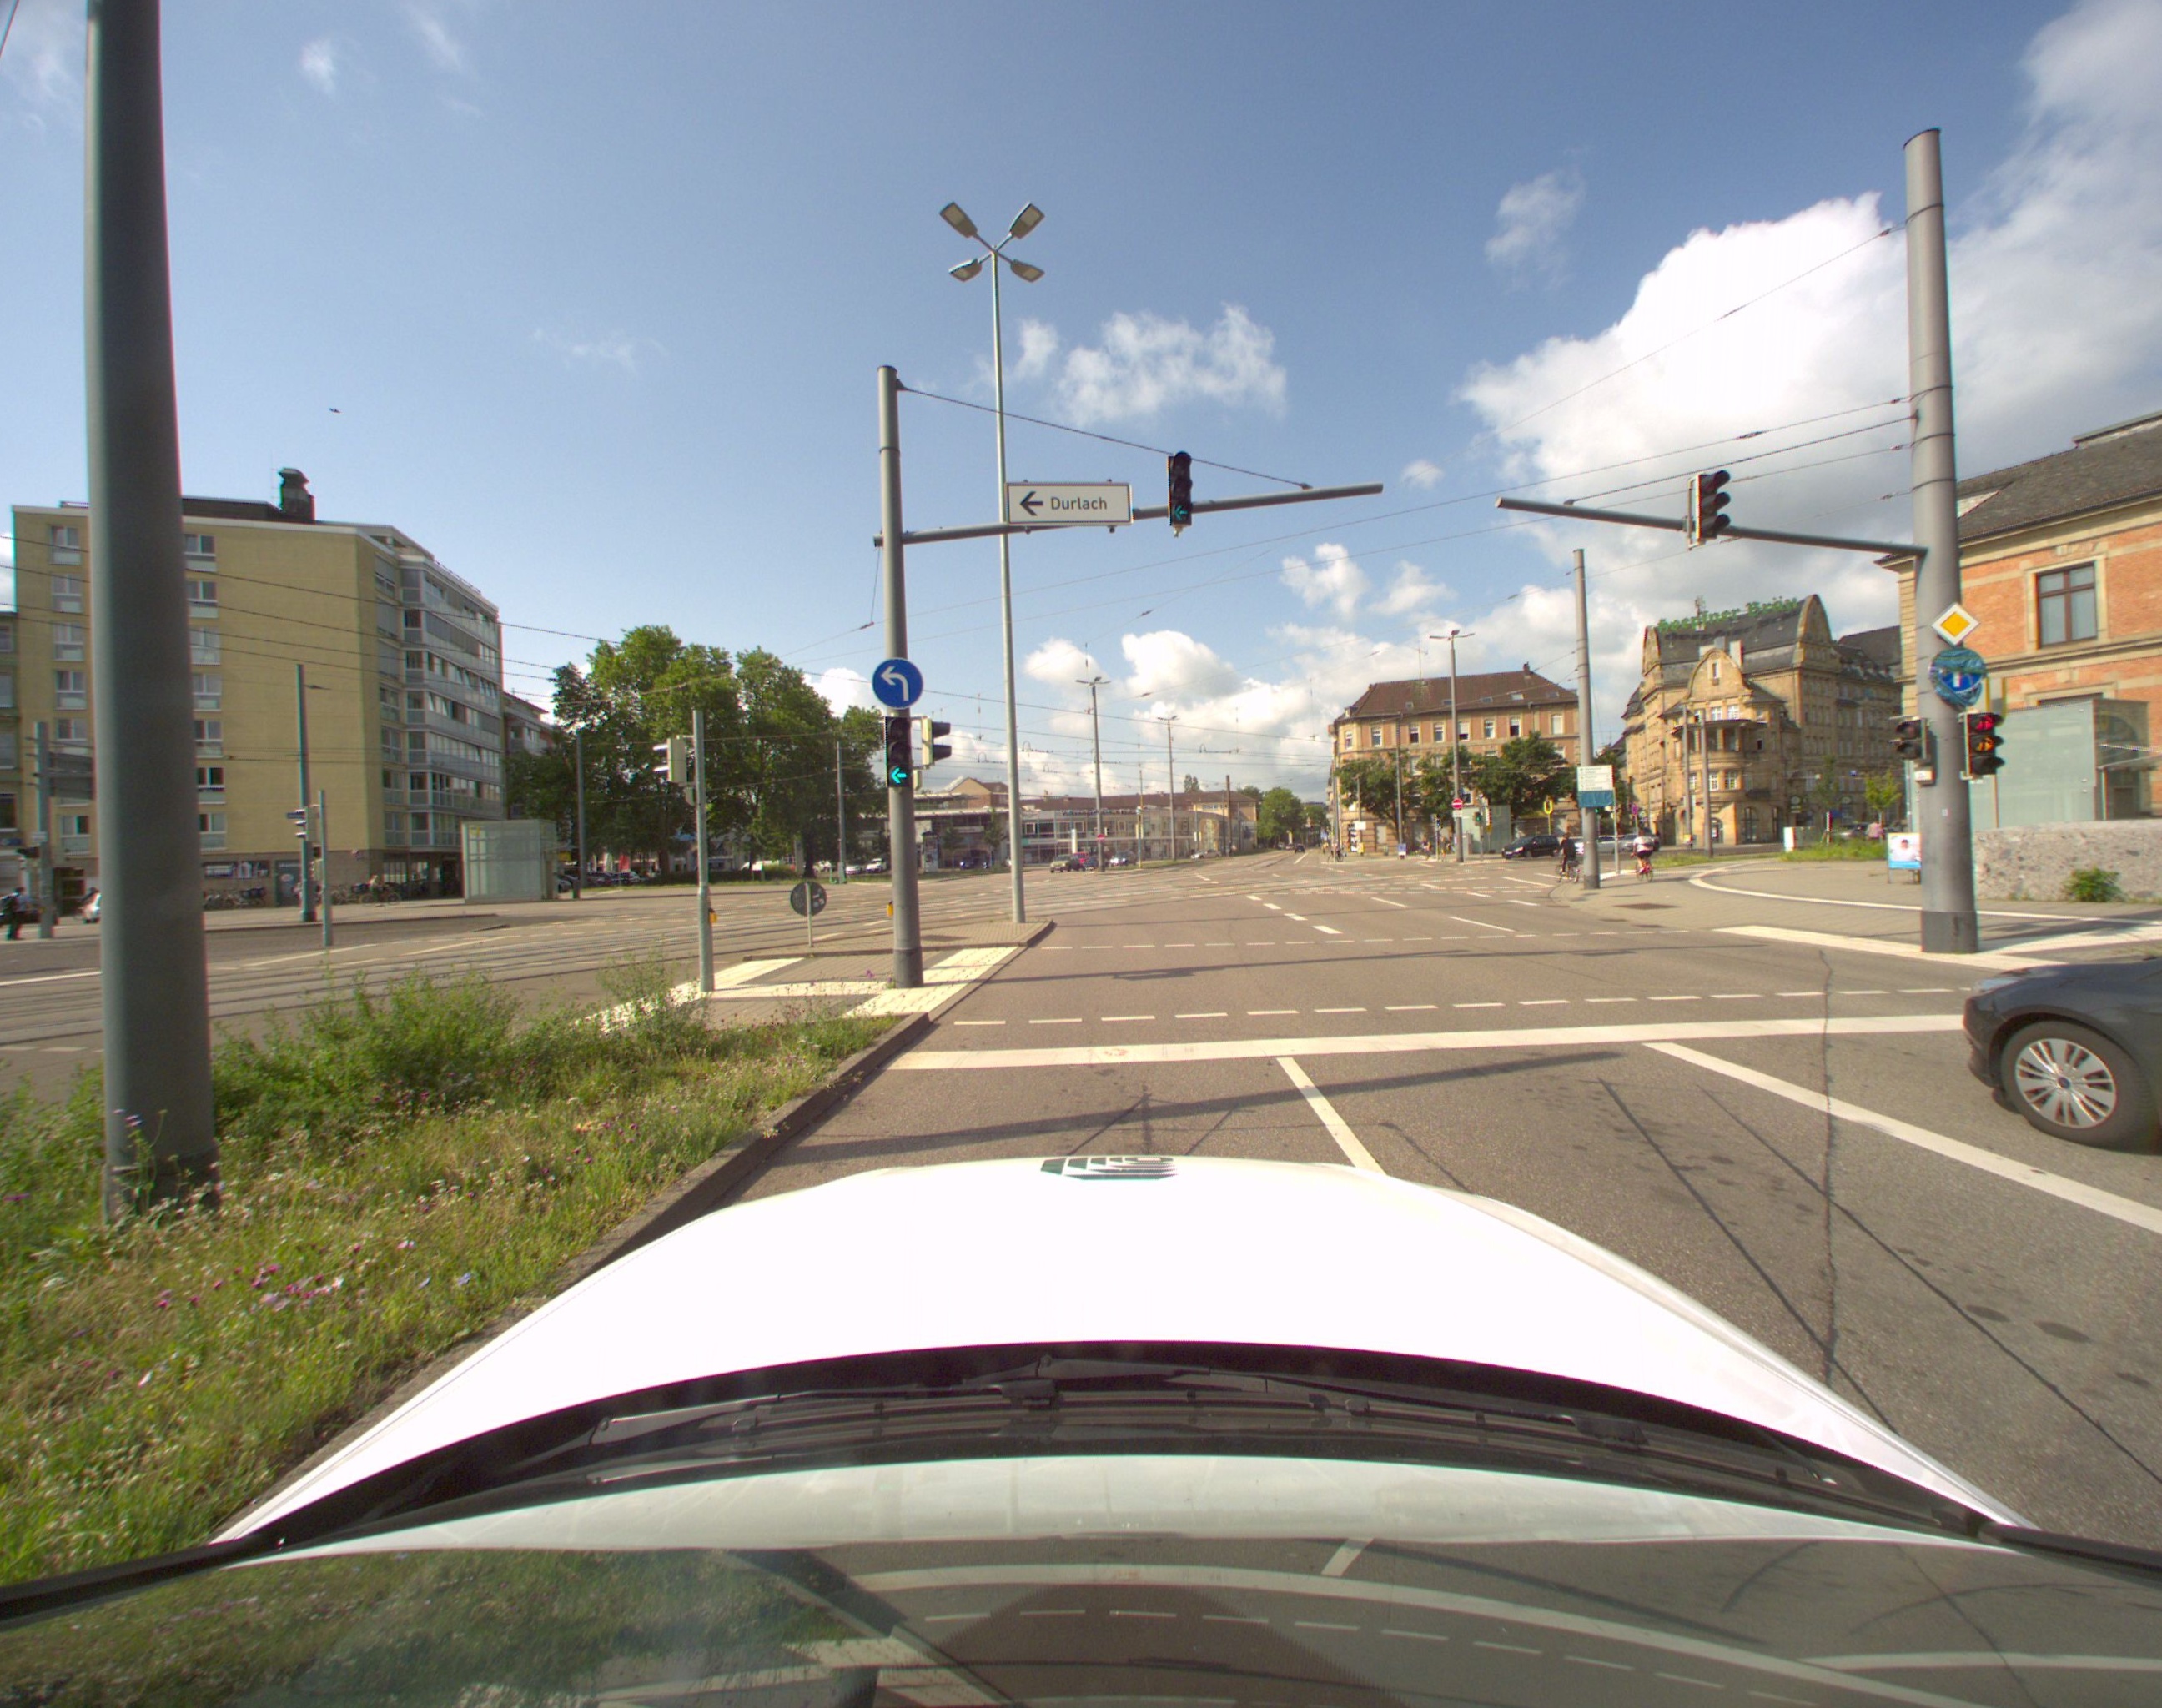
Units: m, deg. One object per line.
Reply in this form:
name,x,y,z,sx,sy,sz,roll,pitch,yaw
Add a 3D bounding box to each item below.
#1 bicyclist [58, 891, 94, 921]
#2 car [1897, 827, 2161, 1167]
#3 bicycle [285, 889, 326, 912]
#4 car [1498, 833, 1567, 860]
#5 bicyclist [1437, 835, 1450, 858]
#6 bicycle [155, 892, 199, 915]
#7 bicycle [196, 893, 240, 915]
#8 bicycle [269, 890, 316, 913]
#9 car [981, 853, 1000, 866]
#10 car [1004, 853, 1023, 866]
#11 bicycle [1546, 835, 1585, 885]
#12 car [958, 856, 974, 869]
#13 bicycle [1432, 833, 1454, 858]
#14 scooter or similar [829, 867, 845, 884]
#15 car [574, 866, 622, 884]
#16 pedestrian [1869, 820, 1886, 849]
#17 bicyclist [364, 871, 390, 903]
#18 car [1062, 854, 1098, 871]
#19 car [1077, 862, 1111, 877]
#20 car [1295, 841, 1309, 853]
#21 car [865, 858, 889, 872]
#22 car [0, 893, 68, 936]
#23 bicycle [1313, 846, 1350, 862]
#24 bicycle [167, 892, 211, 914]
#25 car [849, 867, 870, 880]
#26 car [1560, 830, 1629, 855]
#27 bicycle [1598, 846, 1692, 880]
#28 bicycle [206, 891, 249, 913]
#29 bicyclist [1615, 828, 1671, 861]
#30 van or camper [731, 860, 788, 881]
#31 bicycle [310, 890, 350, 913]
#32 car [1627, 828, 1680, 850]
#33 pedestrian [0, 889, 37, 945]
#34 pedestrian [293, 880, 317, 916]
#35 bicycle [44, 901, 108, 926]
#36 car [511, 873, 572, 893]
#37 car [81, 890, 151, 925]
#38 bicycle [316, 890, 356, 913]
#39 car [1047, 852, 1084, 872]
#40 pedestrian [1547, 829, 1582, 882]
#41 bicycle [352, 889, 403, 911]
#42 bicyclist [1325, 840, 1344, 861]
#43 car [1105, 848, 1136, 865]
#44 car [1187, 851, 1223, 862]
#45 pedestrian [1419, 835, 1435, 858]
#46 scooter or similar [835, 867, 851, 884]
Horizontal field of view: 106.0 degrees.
bicyclist,-52.949,2.748,42.911,0.833,1.497,0.785,-2,0,-17
car,5.730,0.629,2.725,1.761,1.528,4.256,-2,0,1
bicycle,-45.947,2.779,48.261,1.642,1.272,0.485,3,-1,-13
car,31.045,-0.494,56.013,4.348,1.739,1.983,0,-1,-26
bicyclist,26.470,-0.541,59.486,0.571,1.671,0.656,-2,0,-2
bicycle,-51.288,2.802,46.214,1.642,1.202,0.485,3,-1,-13
bicycle,-49.421,2.874,46.664,1.642,1.202,0.546,3,-1,-13
bicycle,-46.112,2.775,47.643,1.892,1.272,0.484,4,0,-24
car,-11.372,0.687,102.533,1.914,1.445,3.999,-2,0,-1
car,-8.648,0.736,104.628,1.911,1.552,4.004,-2,0,3
bicycle,17.168,0.212,28.887,0.996,1.725,2.483,-1,-1,27
car,-14.556,1.077,103.299,1.918,1.445,3.989,-2,0,-8
bicycle,26.477,-0.593,59.595,0.727,1.777,1.636,-2,0,-2
scooter or similar,-16.720,1.463,55.751,0.934,1.157,0.377,3,1,-42
car,-47.166,2.048,79.597,3.611,1.594,1.659,-2,0,-12
pedestrian,41.491,-1.010,42.431,0.501,1.505,0.501,-2,0,-33
bicyclist,-39.647,1.863,45.881,0.827,1.745,0.708,-2,0,-17
car,-0.048,0.742,72.330,1.978,1.519,4.018,-1,-1,18
car,1.090,1.232,65.689,1.608,1.161,4.018,-1,-1,18
car,38.629,-1.245,142.300,1.977,2.013,4.020,-2,0,20
car,-26.047,1.397,104.155,2.062,1.604,3.997,-2,0,-2
car,-49.408,2.769,38.164,5.000,1.468,1.903,4,0,33
bicycle,20.380,-0.016,66.218,2.667,1.170,0.899,-2,0,-5
bicycle,-51.219,2.806,46.780,1.642,1.202,0.485,3,-1,-13
car,-28.402,2.535,104.396,1.991,1.574,3.991,0,-1,-6
car,36.932,-0.810,58.534,4.693,1.595,1.983,-3,0,-25
bicycle,18.338,0.323,26.624,0.989,1.028,3.109,1,-2,1
bicycle,-49.482,2.797,47.224,1.642,1.202,0.485,3,-1,-13
bicyclist,18.346,-0.299,26.627,0.987,1.028,1.215,1,-3,1
van or camper,-38.409,1.942,97.335,5.848,2.469,2.396,0,-1,5
bicycle,-44.435,2.832,48.211,1.642,1.272,0.529,3,-1,-13
car,46.645,-1.221,66.373,4.006,1.600,1.741,-2,0,-24
pedestrian,-34.338,1.994,26.041,0.794,1.673,0.840,3,1,-17
pedestrian,-38.832,2.185,40.768,0.790,1.760,0.983,0,-2,-39
bicycle,-52.910,3.118,42.905,1.991,1.127,0.785,-2,0,-18
car,-43.308,2.299,65.449,3.570,1.530,1.989,0,-1,-16
car,-46.613,2.541,39.333,3.467,1.440,1.730,2,-1,34
bicycle,-44.565,2.837,48.732,1.642,1.272,0.485,3,-1,-13
car,-1.244,0.649,66.137,1.806,1.513,4.018,-1,-1,18
pedestrian,17.217,0.068,29.023,0.983,1.841,1.002,-1,-1,27
bicycle,-39.614,2.578,45.899,1.991,1.127,0.785,-2,0,-18
bicyclist,20.585,-0.281,66.217,1.191,1.658,0.784,-2,0,-5
car,4.121,0.245,83.756,1.976,1.552,4.021,-2,0,21
car,16.495,0.336,108.034,4.486,1.464,1.768,0,-1,-23
pedestrian,27.344,-0.608,64.384,0.865,1.810,0.884,0,-1,-10
scooter or similar,-16.210,1.457,55.460,0.377,1.157,0.935,4,1,36
